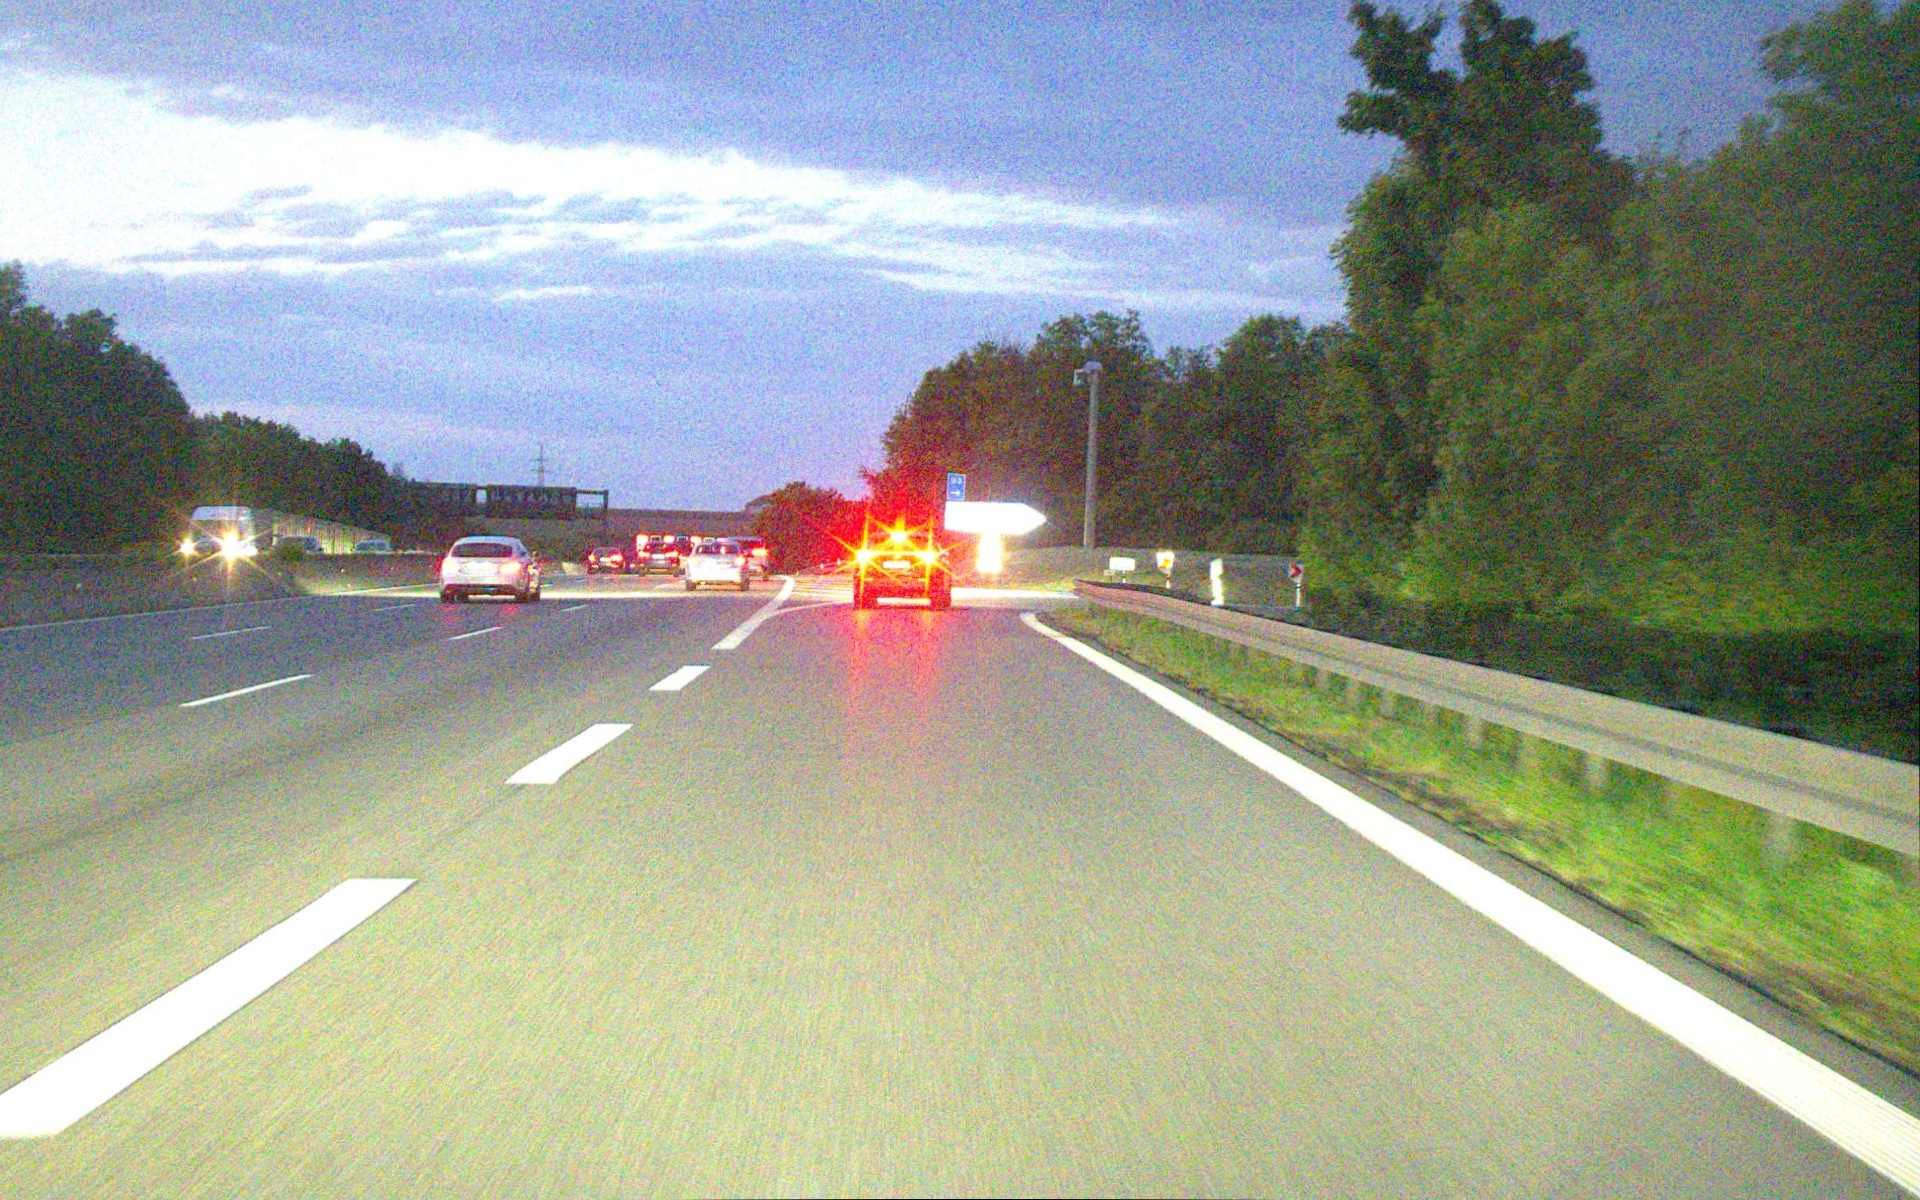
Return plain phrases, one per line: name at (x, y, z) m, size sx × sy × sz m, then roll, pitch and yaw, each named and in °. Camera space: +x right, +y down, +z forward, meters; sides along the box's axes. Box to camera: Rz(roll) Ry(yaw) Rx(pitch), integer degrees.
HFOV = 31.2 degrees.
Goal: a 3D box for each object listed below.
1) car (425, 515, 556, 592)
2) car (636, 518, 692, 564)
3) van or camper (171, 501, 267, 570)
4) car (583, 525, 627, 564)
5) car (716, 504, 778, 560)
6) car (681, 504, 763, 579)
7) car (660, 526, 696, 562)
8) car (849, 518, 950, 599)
car at (-10.159, -1.033, 74.743) m, size 1.994 × 1.637 × 4.554 m, roll 0°, pitch 1°, yaw 3°
car at (-13.204, -2.645, 153.584) m, size 2.071 × 2.007 × 4.000 m, roll 0°, pitch 1°, yaw 1°
van or camper at (-28.590, -2.473, 132.912) m, size 2.516 × 2.586 × 6.490 m, roll 1°, pitch 1°, yaw -2°
car at (-18.571, -2.931, 180.155) m, size 2.104 × 2.007 × 4.001 m, roll -1°, pitch 1°, yaw -3°
car at (-7.737, -2.485, 125.362) m, size 1.993 × 2.007 × 4.000 m, roll 0°, pitch 1°, yaw 0°
car at (-6.575, -1.626, 95.295) m, size 1.993 × 2.007 × 4.000 m, roll 1°, pitch 1°, yaw 0°
car at (-16.204, -3.215, 197.653) m, size 1.993 × 2.007 × 4.001 m, roll 0°, pitch 1°, yaw -6°
car at (-1.239, -0.899, 72.296) m, size 1.993 × 1.653 × 4.315 m, roll 0°, pitch 1°, yaw 1°
